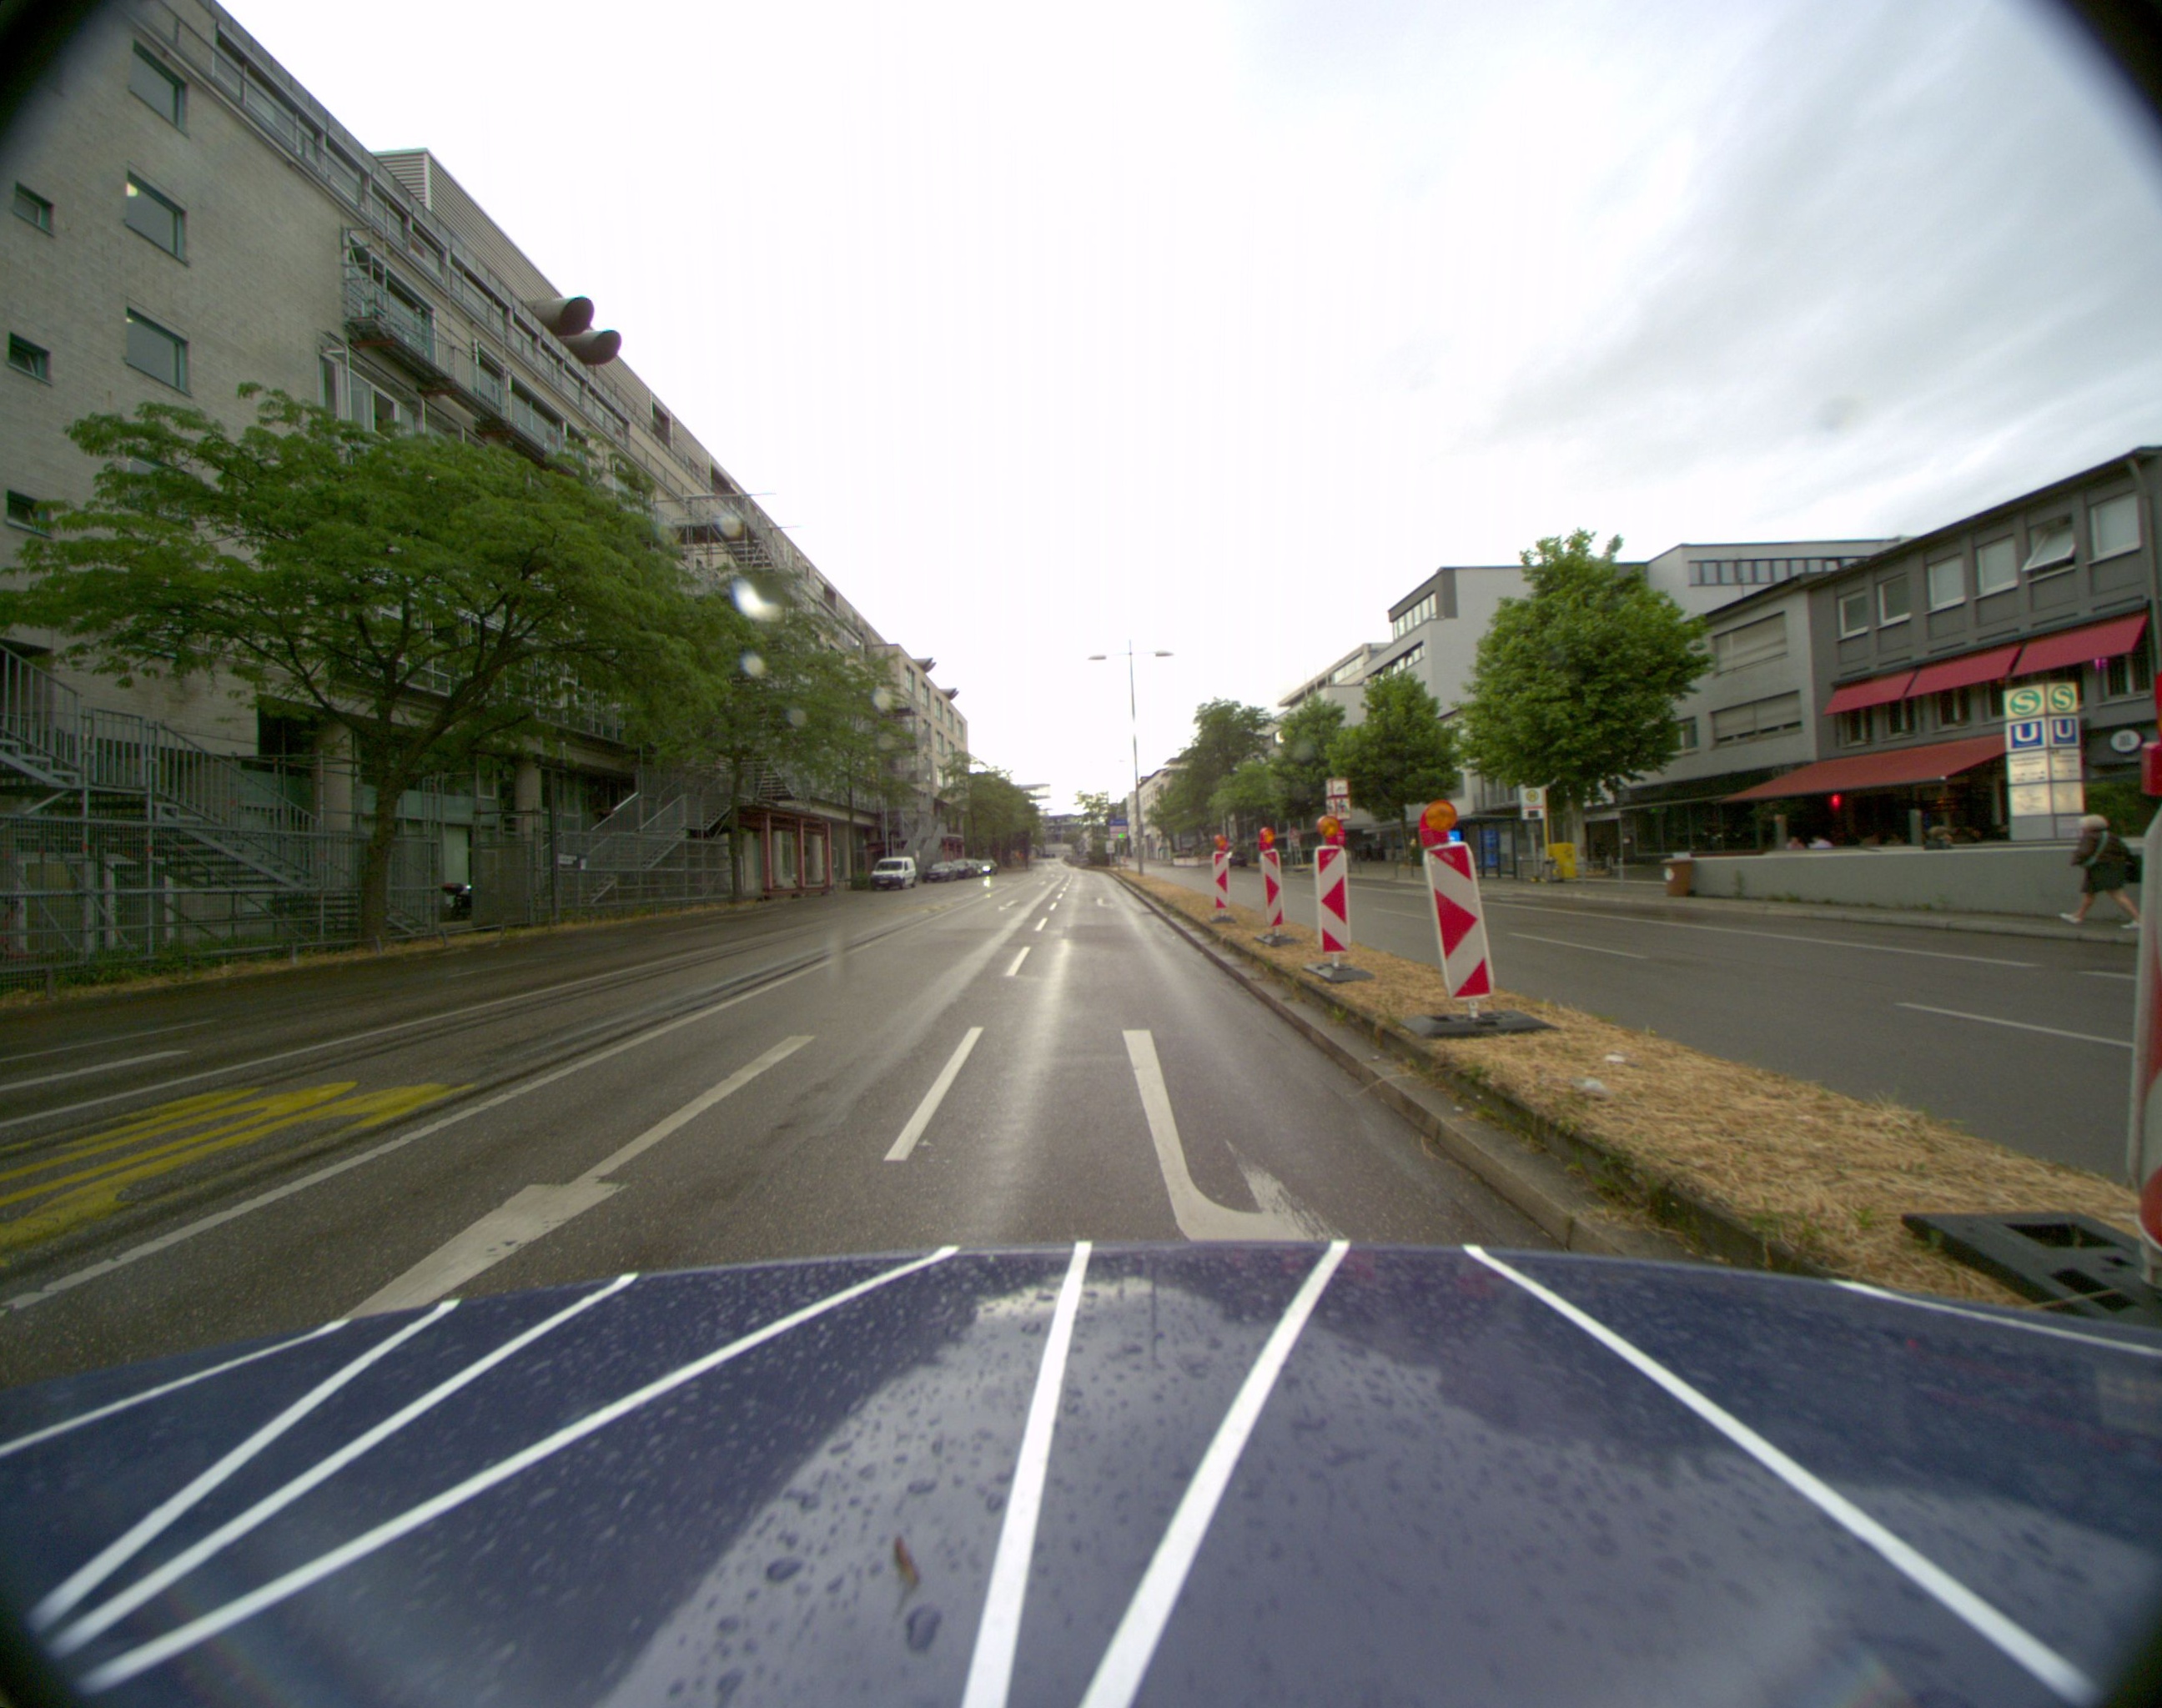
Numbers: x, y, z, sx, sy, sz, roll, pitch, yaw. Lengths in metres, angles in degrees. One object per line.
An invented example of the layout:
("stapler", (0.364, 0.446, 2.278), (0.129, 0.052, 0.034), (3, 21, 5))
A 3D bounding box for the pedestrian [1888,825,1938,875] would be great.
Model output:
("pedestrian", (24.955, -0.114, 22.802), (0.728, 1.442, 0.691), (-2, 1, -6))

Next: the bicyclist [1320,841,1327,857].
("bicyclist", (21.181, -0.434, 66.405), (0.424, 1.393, 0.408), (-1, 1, 6))

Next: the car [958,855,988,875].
("car", (-9.436, 0.954, 66.724), (1.866, 1.591, 4.593), (-2, 0, 1))

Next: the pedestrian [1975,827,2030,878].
("pedestrian", (24.927, -0.052, 20.566), (0.635, 1.336, 0.691), (-2, 1, -6))

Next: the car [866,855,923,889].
("car", (-10.441, 0.957, 42.812), (1.998, 1.739, 4.526), (-2, 0, 1))

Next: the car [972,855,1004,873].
("car", (-8.842, 0.939, 72.644), (1.998, 1.591, 5.290), (-2, 0, 4))

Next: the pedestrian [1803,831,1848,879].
("pedestrian", (23.189, 0.036, 23.671), (0.691, 1.442, 0.707), (-2, 1, -4))

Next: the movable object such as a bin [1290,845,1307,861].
("movable object such as a bin", (20.319, -0.106, 70.935), (1.281, 1.418, 1.088), (-2, 1, 1))

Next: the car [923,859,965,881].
("car", (-9.770, 1.101, 54.558), (1.873, 1.429, 4.922), (-2, 0, 3))

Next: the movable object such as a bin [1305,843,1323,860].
("movable object such as a bin", (21.713, -0.221, 70.926), (1.281, 1.480, 1.088), (-2, 1, 1))

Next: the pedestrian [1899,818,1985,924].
("pedestrian", (15.820, 0.304, 13.974), (0.691, 1.874, 0.758), (-2, 1, -4))

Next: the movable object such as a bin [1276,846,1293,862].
("movable object such as a bin", (18.967, 0.015, 70.910), (1.281, 1.418, 1.088), (-2, 1, 1))

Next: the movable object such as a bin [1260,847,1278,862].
("movable object such as a bin", (17.527, 0.052, 70.908), (1.362, 1.418, 1.088), (-2, 1, 1))

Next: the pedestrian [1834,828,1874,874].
("pedestrian", (24.913, -0.083, 24.491), (0.691, 1.442, 0.547), (-2, 1, -4))

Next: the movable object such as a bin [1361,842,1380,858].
("movable object such as a bin", (26.846, -0.352, 70.405), (1.088, 1.427, 1.281), (-2, 0, -9))

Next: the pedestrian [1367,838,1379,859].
("pedestrian", (24.335, -0.470, 63.349), (0.698, 1.753, 0.653), (-1, 1, 3))

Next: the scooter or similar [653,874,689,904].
("scooter or similar", (-17.172, 1.453, 31.843), (0.633, 1.155, 1.547), (-2, 0, 1))

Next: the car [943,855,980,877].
("car", (-9.580, 0.942, 61.350), (1.998, 1.636, 4.863), (-2, 0, 3))

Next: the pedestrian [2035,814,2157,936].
("pedestrian", (14.298, 0.288, 10.727), (0.691, 1.643, 0.758), (-2, 1, -4))

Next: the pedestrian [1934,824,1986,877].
("pedestrian", (24.781, -0.104, 21.426), (0.635, 1.442, 0.691), (-2, 1, -6))

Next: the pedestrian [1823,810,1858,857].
("pedestrian", (26.077, -0.691, 26.091), (0.598, 1.561, 0.604), (-2, 1, -9))

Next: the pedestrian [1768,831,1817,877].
("pedestrian", (23.114, -0.014, 24.704), (0.691, 1.442, 0.914), (-2, 0, -4))

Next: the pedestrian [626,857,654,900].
("pedestrian", (-18.322, 1.019, 31.577), (0.677, 1.732, 0.653), (-1, 1, 3))

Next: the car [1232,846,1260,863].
("car", (16.195, 0.069, 74.751), (1.783, 1.626, 4.023), (-2, 0, -2))

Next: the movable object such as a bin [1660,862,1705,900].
("movable object such as a bin", (14.525, 0.650, 18.360), (0.533, 0.892, 0.682), (0, 0, -9))

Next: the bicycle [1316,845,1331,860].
("bicycle", (21.206, -0.134, 66.409), (1.148, 1.217, 0.405), (-1, 1, 6))
